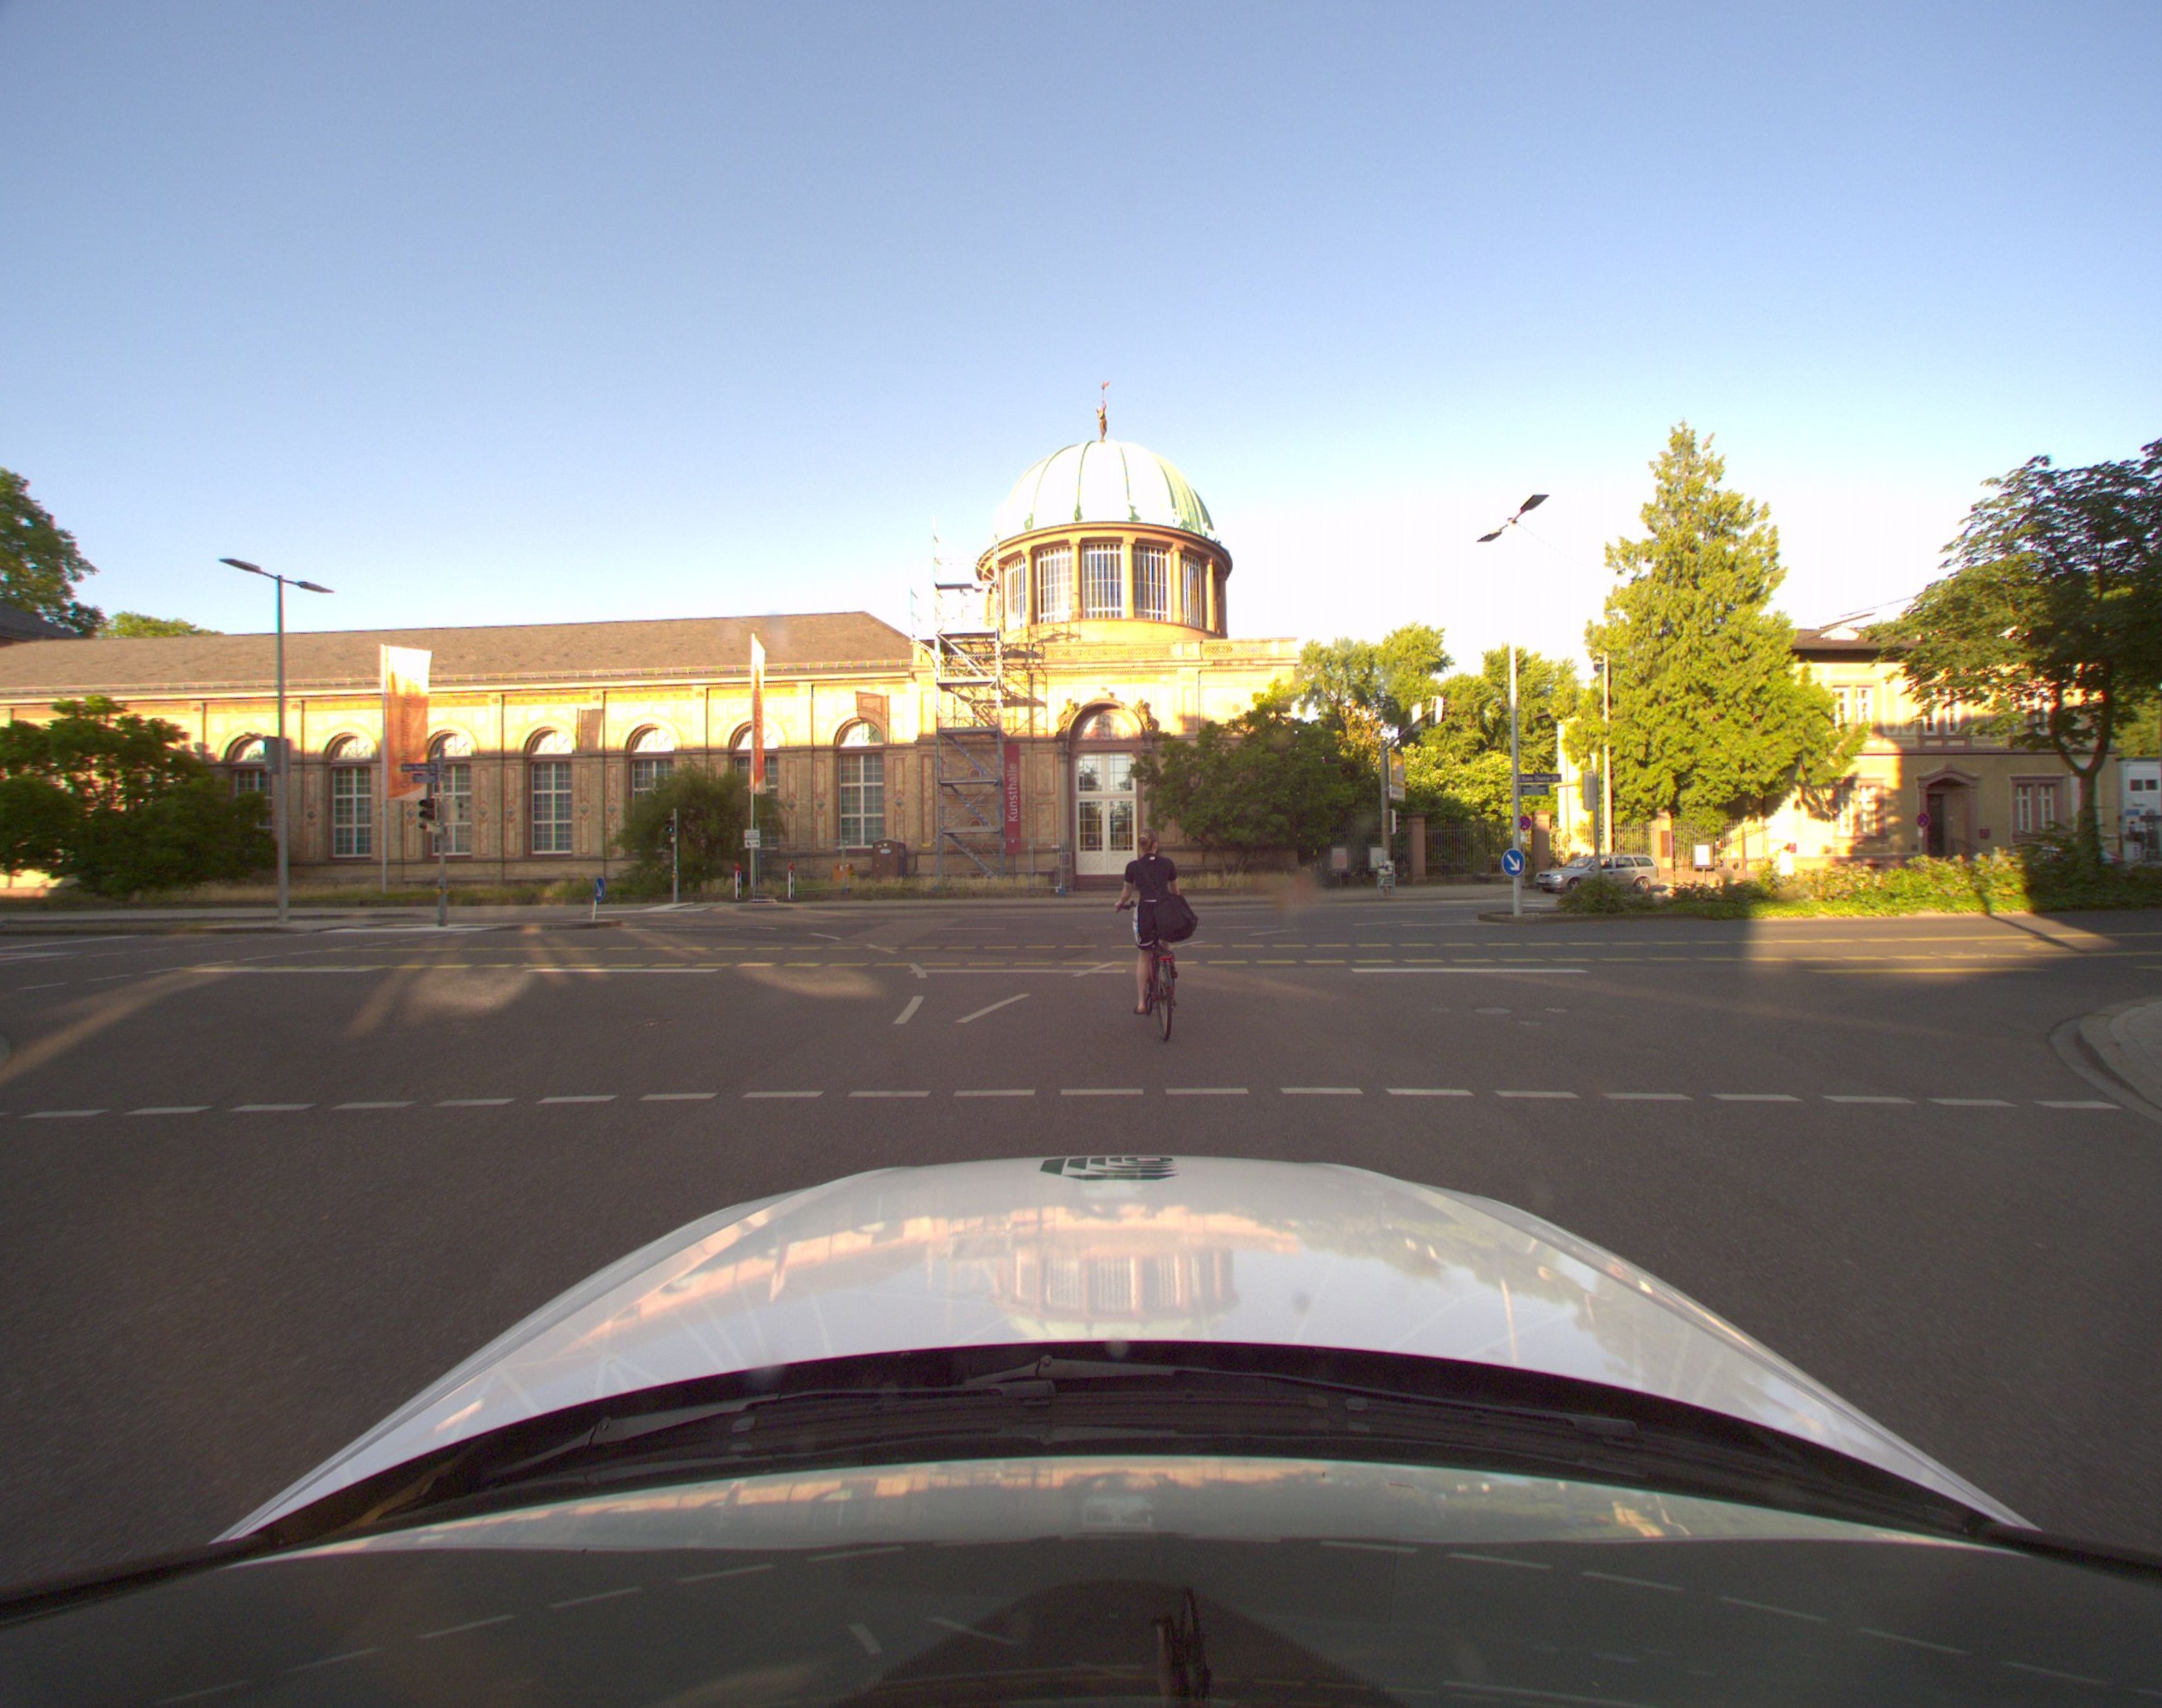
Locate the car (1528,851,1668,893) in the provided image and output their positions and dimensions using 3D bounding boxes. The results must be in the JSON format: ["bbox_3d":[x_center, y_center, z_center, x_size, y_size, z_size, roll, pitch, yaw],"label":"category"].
[{"bbox_3d":[19.244,0.664,30.409,4.176,1.445,1.713,-1,0,-4],"label":"car"}]

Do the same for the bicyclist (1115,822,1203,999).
[{"bbox_3d":[0.689,0.495,7.416,0.713,1.503,0.851,-1,-2,1],"label":"bicyclist"}]

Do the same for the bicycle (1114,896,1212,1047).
[{"bbox_3d":[0.694,0.986,7.523,0.709,1.156,2.068,-1,-2,1],"label":"bicycle"}]
